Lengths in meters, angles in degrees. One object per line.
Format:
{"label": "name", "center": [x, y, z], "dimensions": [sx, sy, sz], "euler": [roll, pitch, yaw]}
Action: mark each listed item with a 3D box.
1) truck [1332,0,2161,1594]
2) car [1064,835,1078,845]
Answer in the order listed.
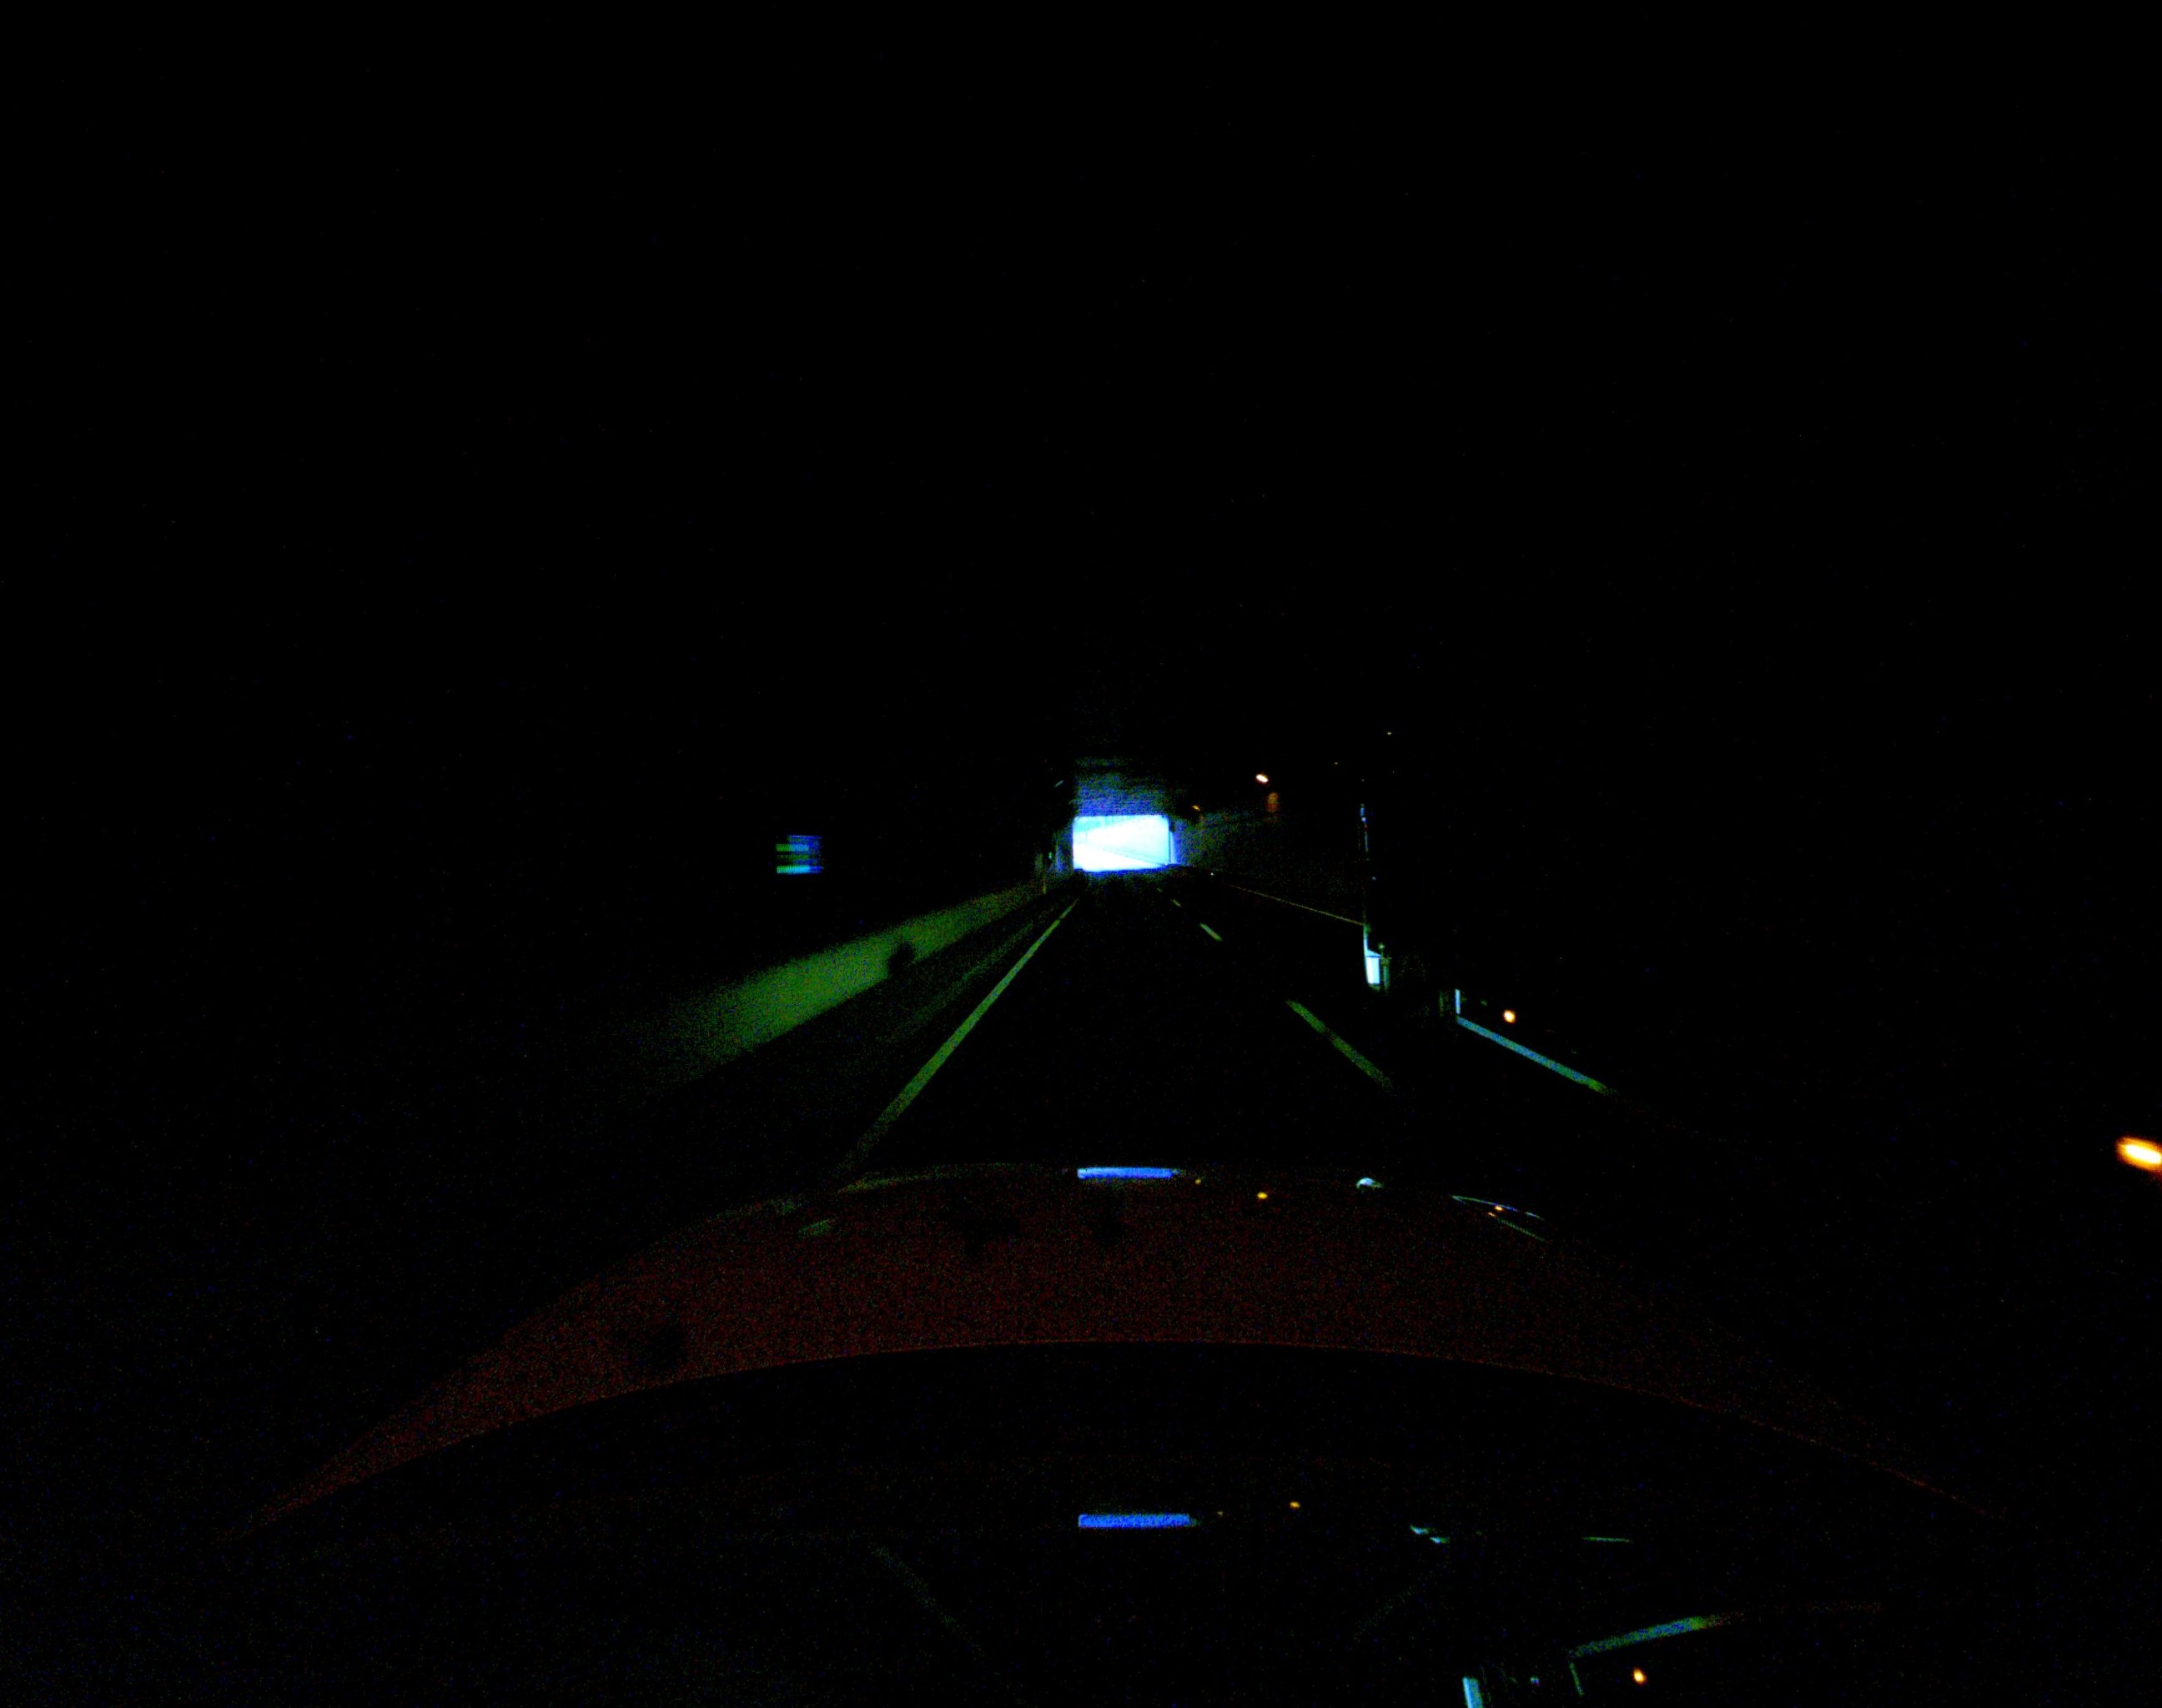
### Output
{"label": "truck", "center": [3.542, -0.566, 2.592], "dimensions": [2.876, 3.913, 9.918], "euler": [-2, 0, 3]}
{"label": "car", "center": [-1.943, -2.723, 155.630], "dimensions": [1.870, 1.732, 3.984], "euler": [-2, -1, -11]}
